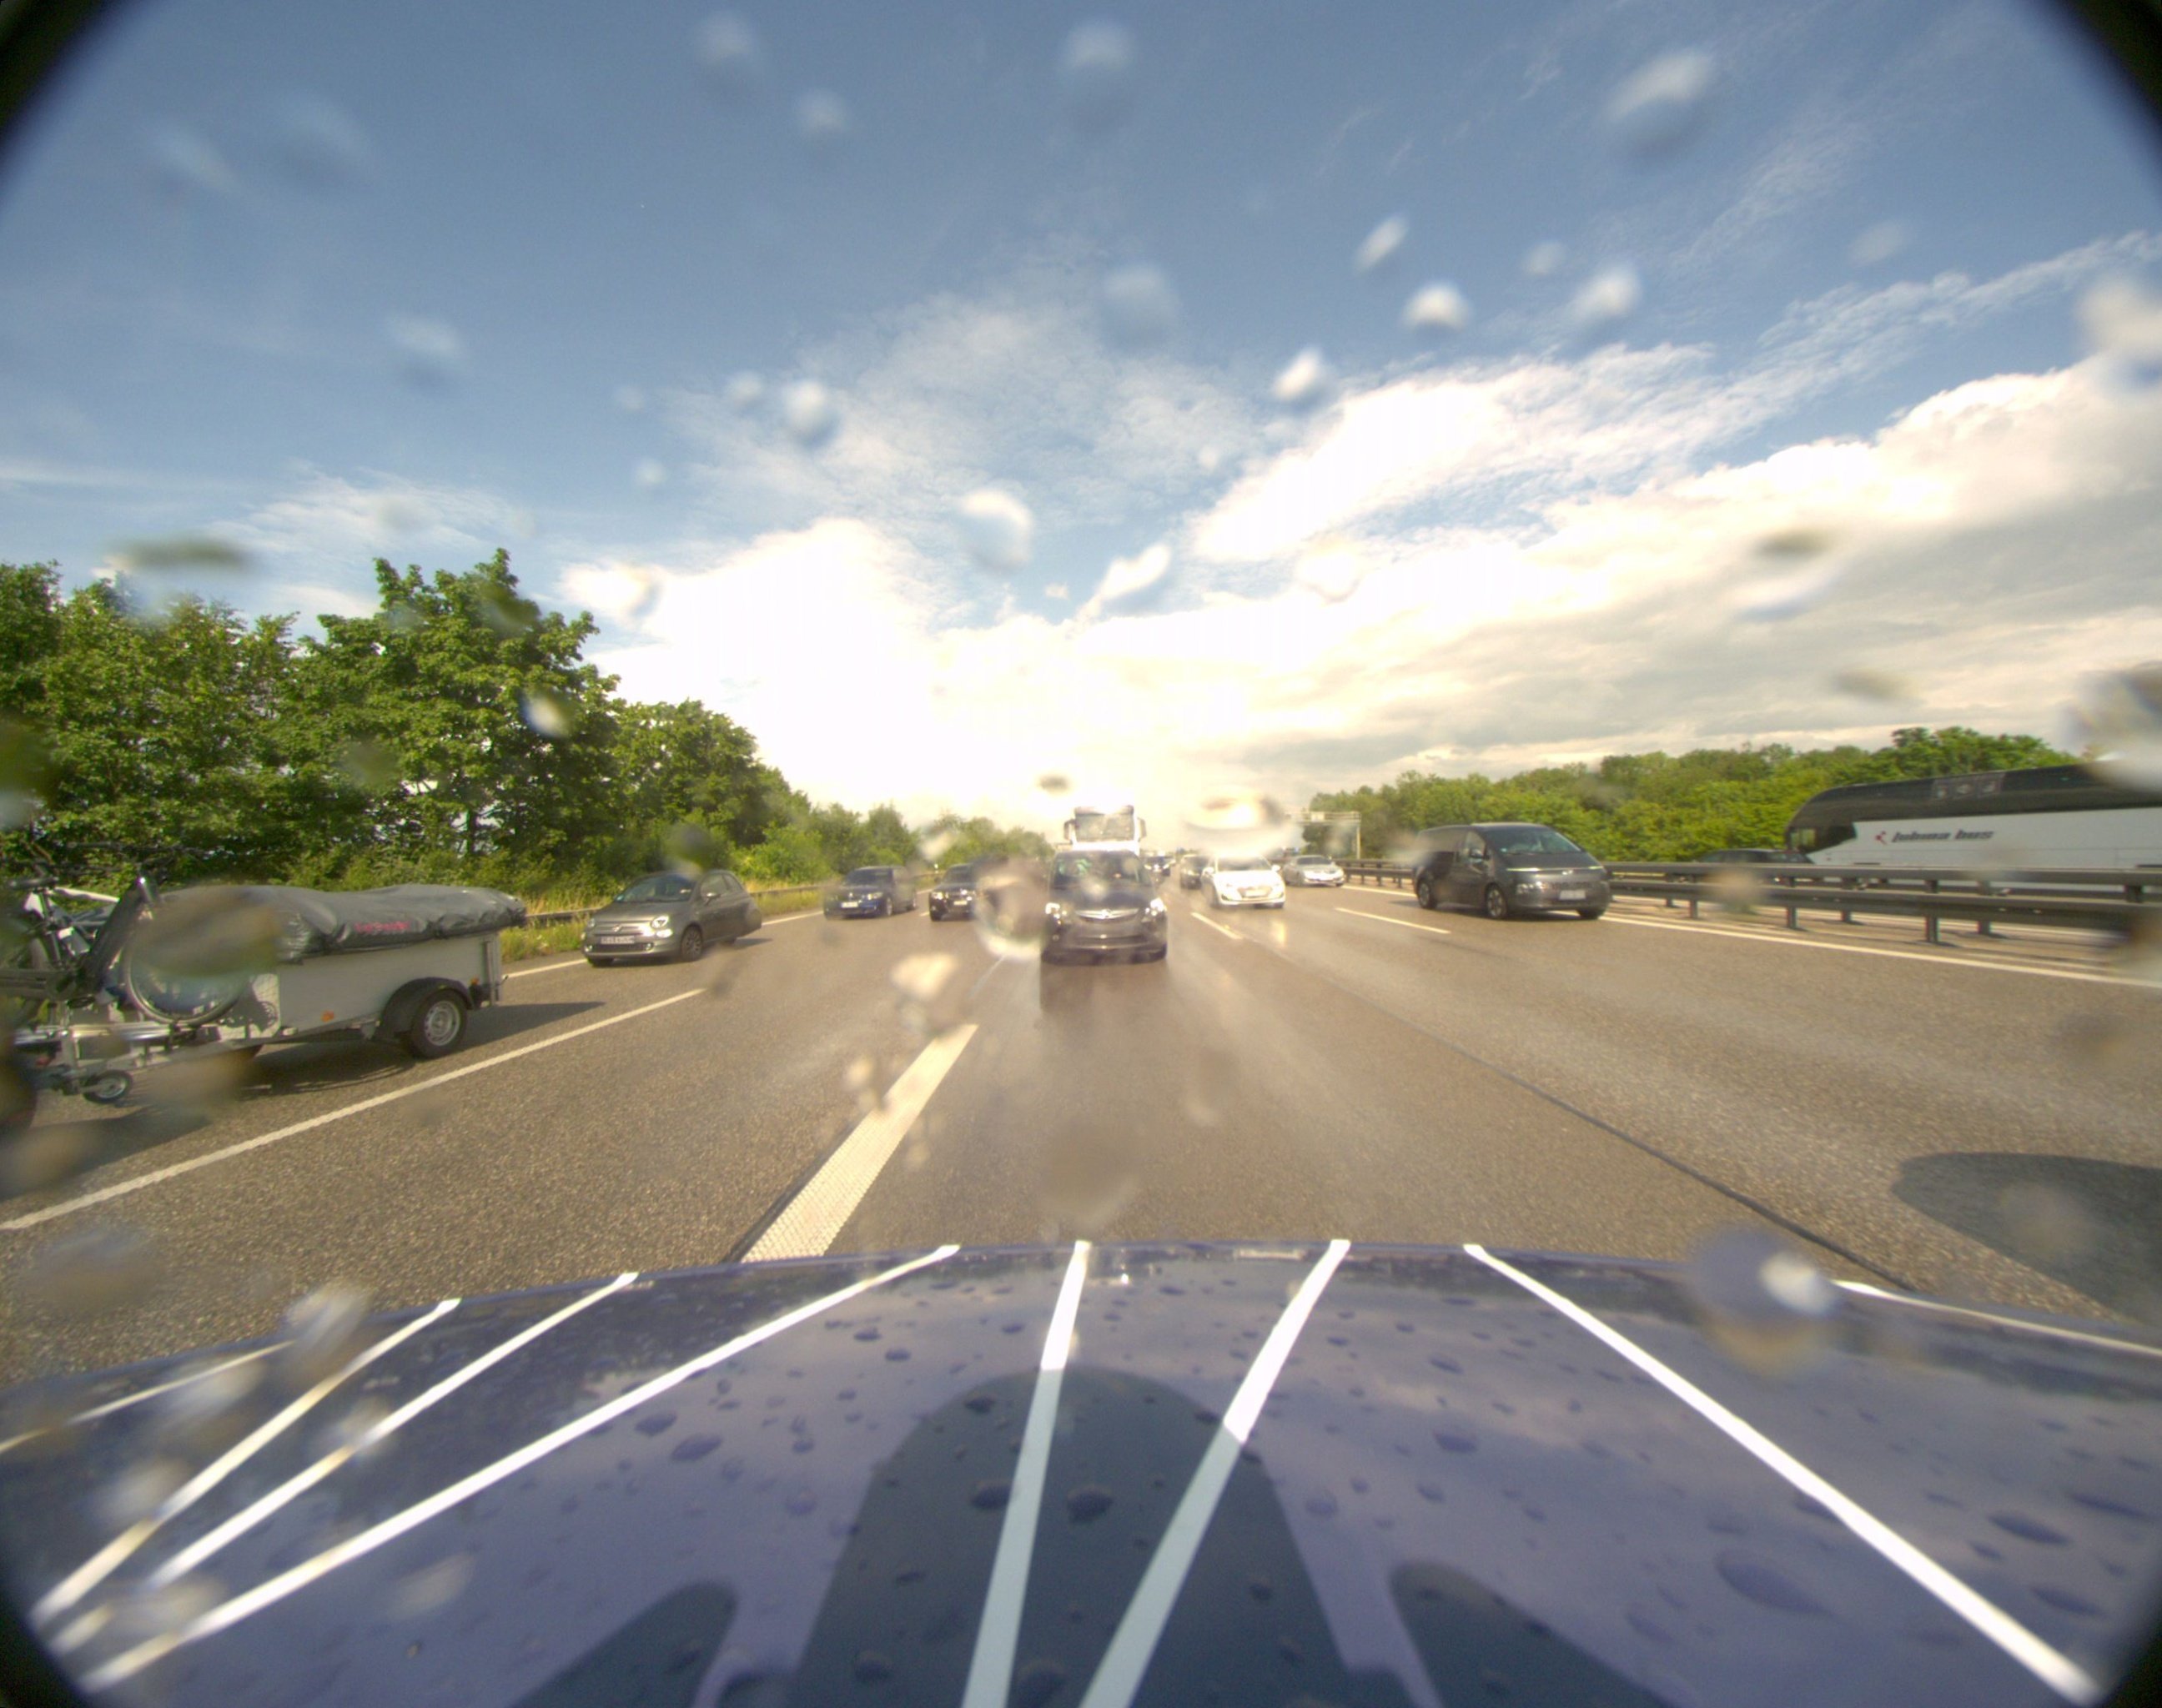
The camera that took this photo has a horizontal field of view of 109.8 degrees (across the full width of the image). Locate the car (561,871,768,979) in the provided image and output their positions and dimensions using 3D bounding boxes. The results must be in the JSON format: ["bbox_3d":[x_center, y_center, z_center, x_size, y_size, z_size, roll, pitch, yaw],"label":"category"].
[{"bbox_3d":[-7.002,1.113,13.198,1.616,1.480,3.481,-2,0,0],"label":"car"}]

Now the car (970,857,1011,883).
[{"bbox_3d":[-5.544,0.969,47.237,1.998,1.481,4.249,-2,0,0],"label":"car"}]

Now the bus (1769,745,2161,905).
[{"bbox_3d":[24.192,-0.657,18.927,2.898,3.354,12.470,-2,0,1],"label":"bus"}]

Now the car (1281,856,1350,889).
[{"bbox_3d":[9.519,0.722,31.094,1.856,1.182,3.584,-2,0,3],"label":"car"}]

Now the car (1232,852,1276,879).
[{"bbox_3d":[9.702,0.595,42.835,1.618,1.412,4.000,-2,0,1],"label":"car"}]

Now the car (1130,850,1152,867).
[{"bbox_3d":[6.345,0.449,80.782,1.900,1.739,4.000,-2,0,0],"label":"car"}]

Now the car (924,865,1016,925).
[{"bbox_3d":[-2.836,1.014,20.170,1.722,1.346,3.884,-2,0,1],"label":"car"}]

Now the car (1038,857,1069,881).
[{"bbox_3d":[-1.795,0.974,50.130,1.858,1.433,4.000,-2,0,0],"label":"car"}]

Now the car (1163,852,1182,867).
[{"bbox_3d":[11.432,0.678,95.170,1.900,1.739,4.000,-2,0,0],"label":"car"}]

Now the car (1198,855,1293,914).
[{"bbox_3d":[4.374,0.761,20.837,1.809,1.389,4.240,-1,0,2],"label":"car"}]

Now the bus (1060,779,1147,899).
[{"bbox_3d":[0.912,-0.521,31.635,2.904,4.104,9.846,-2,0,1],"label":"bus"}]

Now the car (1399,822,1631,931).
[{"bbox_3d":[8.855,0.398,16.203,1.998,1.906,5.236,-2,0,1],"label":"car"}]

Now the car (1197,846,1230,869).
[{"bbox_3d":[10.378,0.263,59.688,1.900,1.739,4.000,-2,0,0],"label":"car"}]

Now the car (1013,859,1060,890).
[{"bbox_3d":[-2.094,0.951,36.907,1.743,1.357,4.001,-2,0,4],"label":"car"}]

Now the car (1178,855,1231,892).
[{"bbox_3d":[5.182,0.779,32.277,1.597,1.390,4.000,-2,0,1],"label":"car"}]

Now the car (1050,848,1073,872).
[{"bbox_3d":[-1.608,0.476,62.208,1.713,1.792,3.540,-2,1,0],"label":"car"}]

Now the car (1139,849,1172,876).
[{"bbox_3d":[5.063,0.556,52.106,1.889,1.707,4.000,-2,0,0],"label":"car"}]

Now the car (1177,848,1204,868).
[{"bbox_3d":[10.319,0.372,71.780,1.900,1.739,4.000,-2,0,0],"label":"car"}]

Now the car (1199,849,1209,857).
[{"bbox_3d":[29.066,-0.237,179.789,1.998,2.002,4.364,-2,0,4],"label":"car"}]

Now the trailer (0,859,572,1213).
[{"bbox_3d":[-6.091,0.964,5.768,1.811,1.736,3.966,-3,0,-2],"label":"trailer"}]

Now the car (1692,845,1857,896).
[{"bbox_3d":[19.853,0.435,21.974,1.654,1.302,3.523,-2,0,3],"label":"car"}]

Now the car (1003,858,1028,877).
[{"bbox_3d":[-5.924,1.208,69.450,1.868,1.565,4.000,-2,0,0],"label":"car"}]

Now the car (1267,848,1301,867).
[{"bbox_3d":[17.155,0.276,64.319,1.804,1.535,4.000,-2,0,1],"label":"car"}]

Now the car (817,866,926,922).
[{"bbox_3d":[-6.011,1.093,22.364,1.771,1.343,4.580,-2,0,2],"label":"car"}]

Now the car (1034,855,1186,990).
[{"bbox_3d":[0.315,0.865,11.885,1.858,1.622,4.735,-2,0,-1],"label":"car"}]

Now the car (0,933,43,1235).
[{"bbox_3d":[-5.937,1.129,1.513,1.748,1.422,4.403,-2,0,-3],"label":"car"}]
